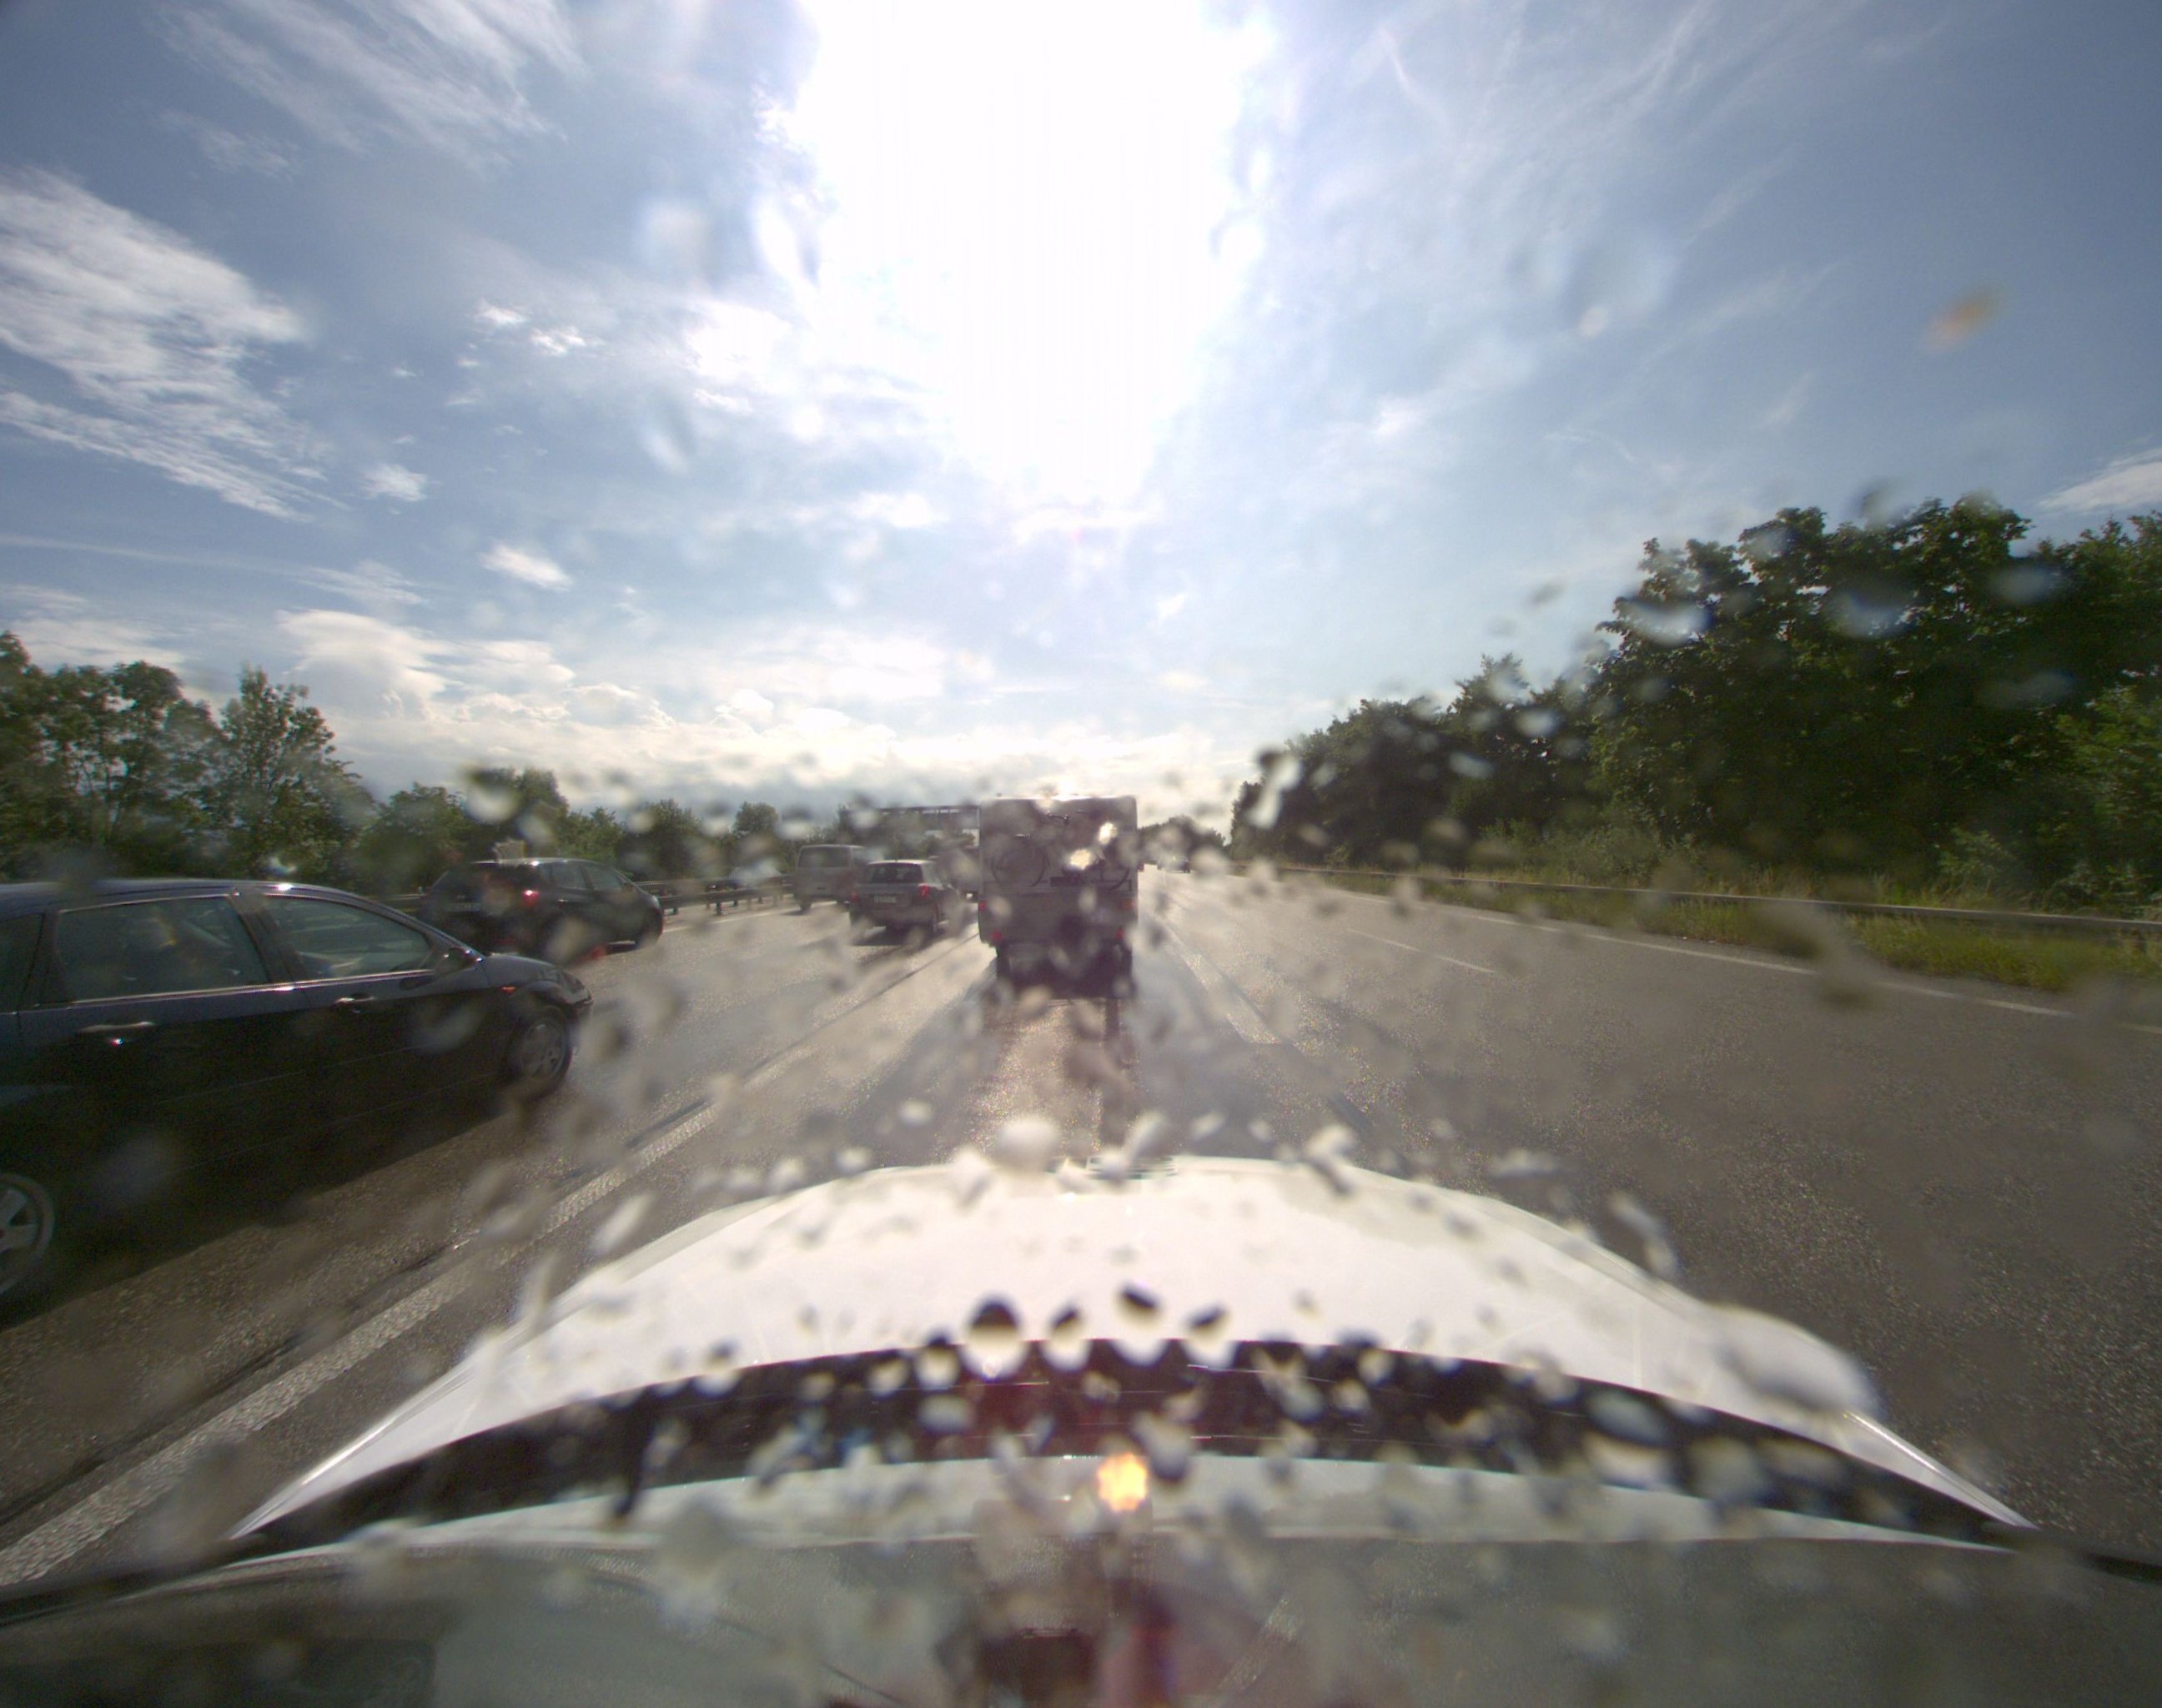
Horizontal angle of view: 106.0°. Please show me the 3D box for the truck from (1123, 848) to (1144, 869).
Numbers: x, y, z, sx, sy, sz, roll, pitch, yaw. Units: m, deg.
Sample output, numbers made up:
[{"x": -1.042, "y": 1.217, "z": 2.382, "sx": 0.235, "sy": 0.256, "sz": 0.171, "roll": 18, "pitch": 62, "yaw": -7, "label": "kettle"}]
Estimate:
[{"x": 6.242, "y": 0.565, "z": 97.714, "sx": 2.406, "sy": 2.444, "sz": 6.056, "roll": -1, "pitch": 0, "yaw": 2, "label": "truck"}]

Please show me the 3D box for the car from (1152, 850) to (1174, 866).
[{"x": 9.118, "y": 0.455, "z": 91.084, "sx": 1.872, "sy": 1.629, "sz": 3.996, "roll": 0, "pitch": -1, "yaw": -2, "label": "car"}]

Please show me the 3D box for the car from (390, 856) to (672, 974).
[{"x": -8.499, "y": 0.840, "z": 13.077, "sx": 1.777, "sy": 1.578, "sz": 3.917, "roll": -1, "pitch": 0, "yaw": 1, "label": "car"}]

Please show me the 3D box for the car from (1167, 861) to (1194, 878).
[{"x": 8.989, "y": 1.357, "z": 73.893, "sx": 1.872, "sy": 1.494, "sz": 3.996, "roll": 0, "pitch": -1, "yaw": -2, "label": "car"}]

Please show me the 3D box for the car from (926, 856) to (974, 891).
[{"x": -6.476, "y": 0.947, "z": 40.542, "sx": 1.766, "sy": 1.662, "sz": 3.998, "roll": 0, "pitch": -1, "yaw": -1, "label": "car"}]

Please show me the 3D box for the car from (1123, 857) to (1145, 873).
[{"x": 5.281, "y": 1.070, "z": 81.090, "sx": 1.830, "sy": 1.558, "sz": 3.997, "roll": 0, "pitch": -1, "yaw": -1, "label": "car"}]

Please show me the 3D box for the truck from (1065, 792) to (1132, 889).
[{"x": 0.903, "y": -0.617, "z": 44.536, "sx": 3.135, "sy": 4.626, "sz": 10.736, "roll": -1, "pitch": 0, "yaw": 1, "label": "truck"}]

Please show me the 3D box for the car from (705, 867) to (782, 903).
[{"x": -15.123, "y": 1.359, "z": 36.701, "sx": 1.672, "sy": 1.464, "sz": 4.002, "roll": -1, "pitch": 0, "yaw": 2, "label": "car"}]

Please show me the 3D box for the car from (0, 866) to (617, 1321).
[{"x": -4.366, "y": 0.819, "z": 3.995, "sx": 1.752, "sy": 1.443, "sz": 4.002, "roll": -1, "pitch": 0, "yaw": 2, "label": "car"}]

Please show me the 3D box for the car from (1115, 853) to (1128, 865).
[{"x": 5.609, "y": 0.667, "z": 113.851, "sx": 1.713, "sy": 1.684, "sz": 4.002, "roll": -1, "pitch": 0, "yaw": 2, "label": "car"}]

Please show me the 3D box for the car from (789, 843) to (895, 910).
[{"x": -7.541, "y": 0.672, "z": 26.264, "sx": 1.841, "sy": 1.934, "sz": 5.017, "roll": -1, "pitch": 0, "yaw": 1, "label": "car"}]

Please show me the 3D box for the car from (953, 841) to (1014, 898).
[{"x": -3.623, "y": 0.572, "z": 30.950, "sx": 1.871, "sy": 2.014, "sz": 3.998, "roll": 0, "pitch": -1, "yaw": -1, "label": "car"}]

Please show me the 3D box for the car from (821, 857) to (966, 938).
[{"x": -3.733, "y": 0.813, "z": 16.969, "sx": 1.980, "sy": 1.458, "sz": 3.828, "roll": -1, "pitch": 0, "yaw": 2, "label": "car"}]

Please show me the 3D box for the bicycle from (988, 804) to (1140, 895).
[{"x": -0.209, "y": -0.054, "z": 10.552, "sx": 1.926, "sy": 1.141, "sz": 0.384, "roll": 0, "pitch": -1, "yaw": 2, "label": "bicycle"}]

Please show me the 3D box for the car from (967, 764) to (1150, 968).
[{"x": -0.224, "y": 0.177, "z": 12.754, "sx": 2.401, "sy": 2.674, "sz": 4.002, "roll": 0, "pitch": -1, "yaw": 2, "label": "car"}]
